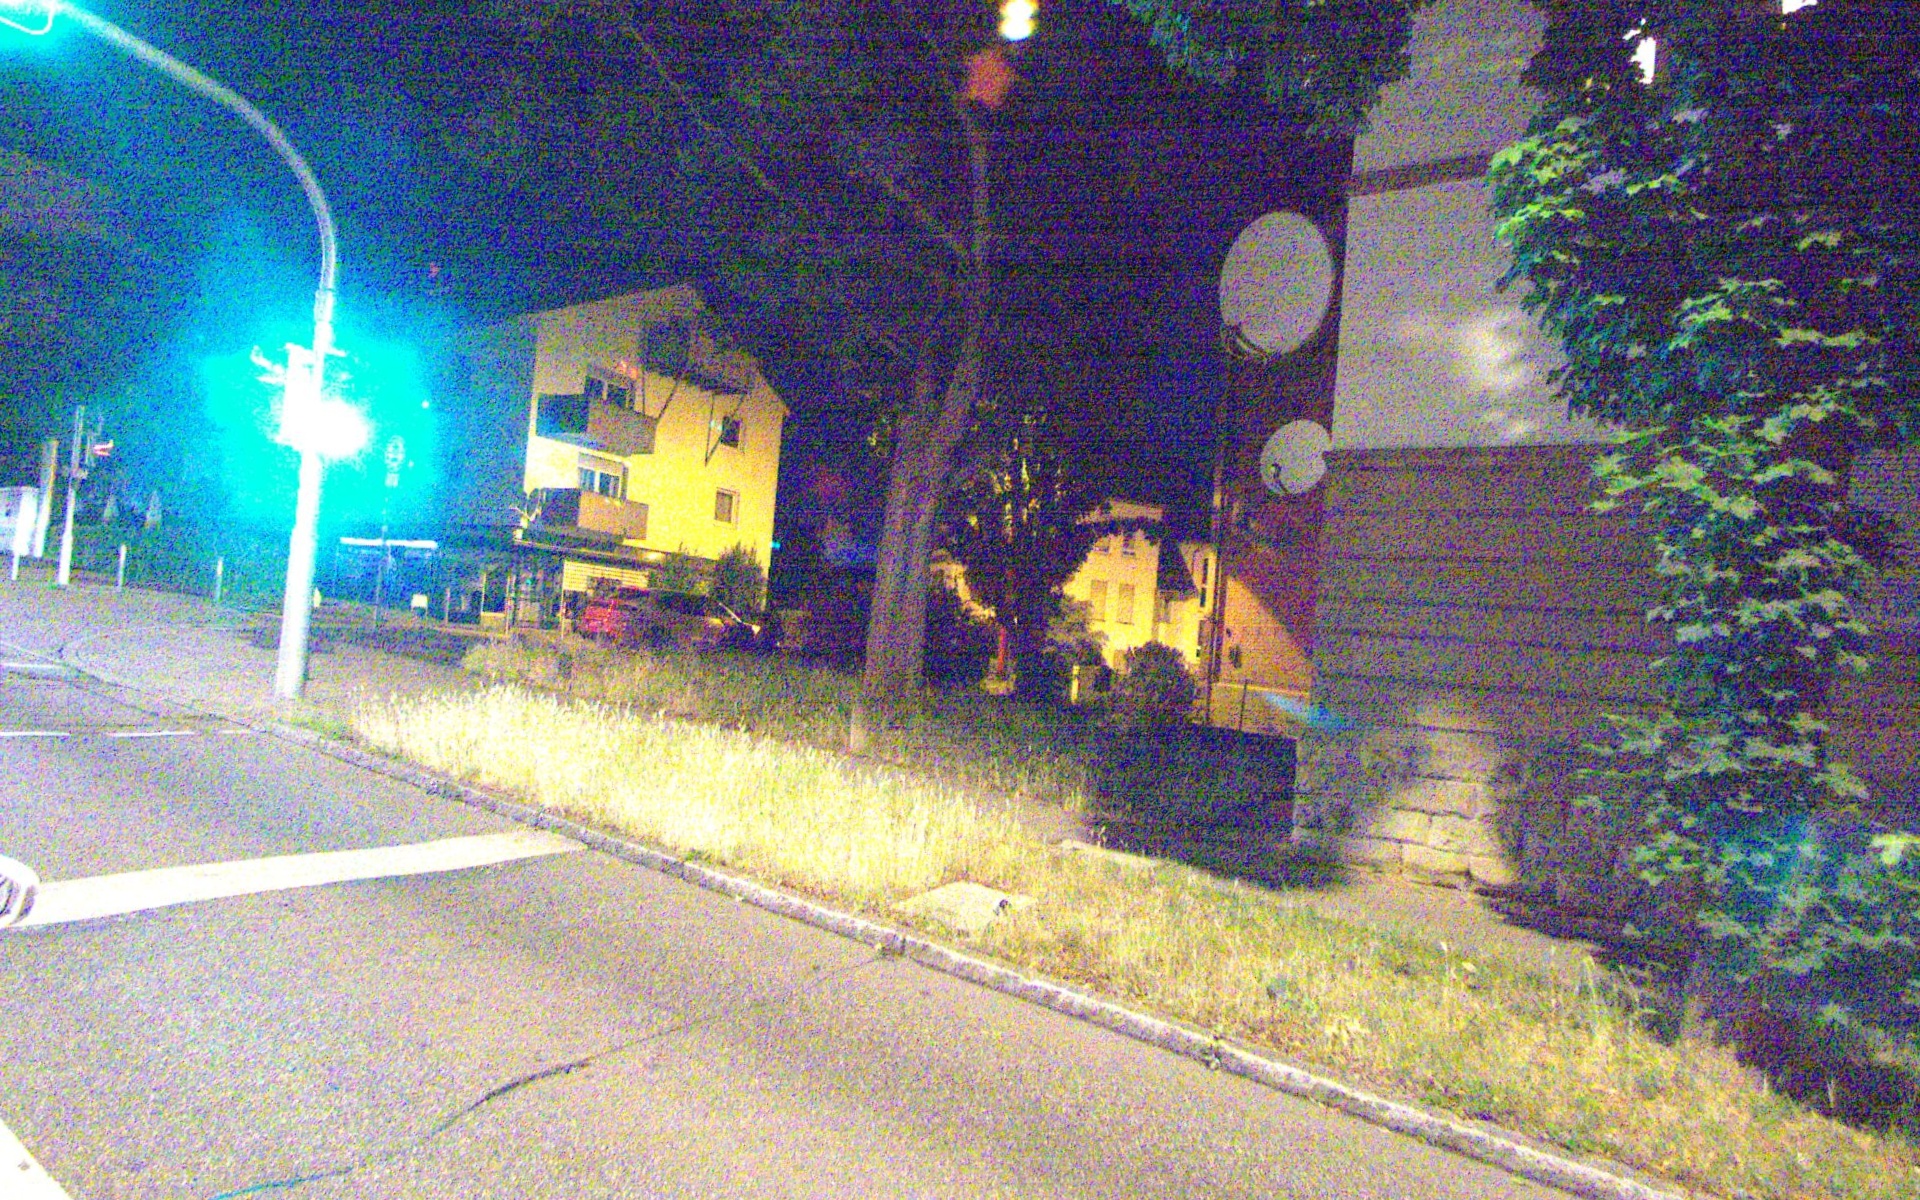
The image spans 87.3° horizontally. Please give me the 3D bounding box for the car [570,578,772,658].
[{"bbox_3d":[-6.550,0.456,23.175,1.740,1.295,4.131,6,-3,39],"label":"car"}]
